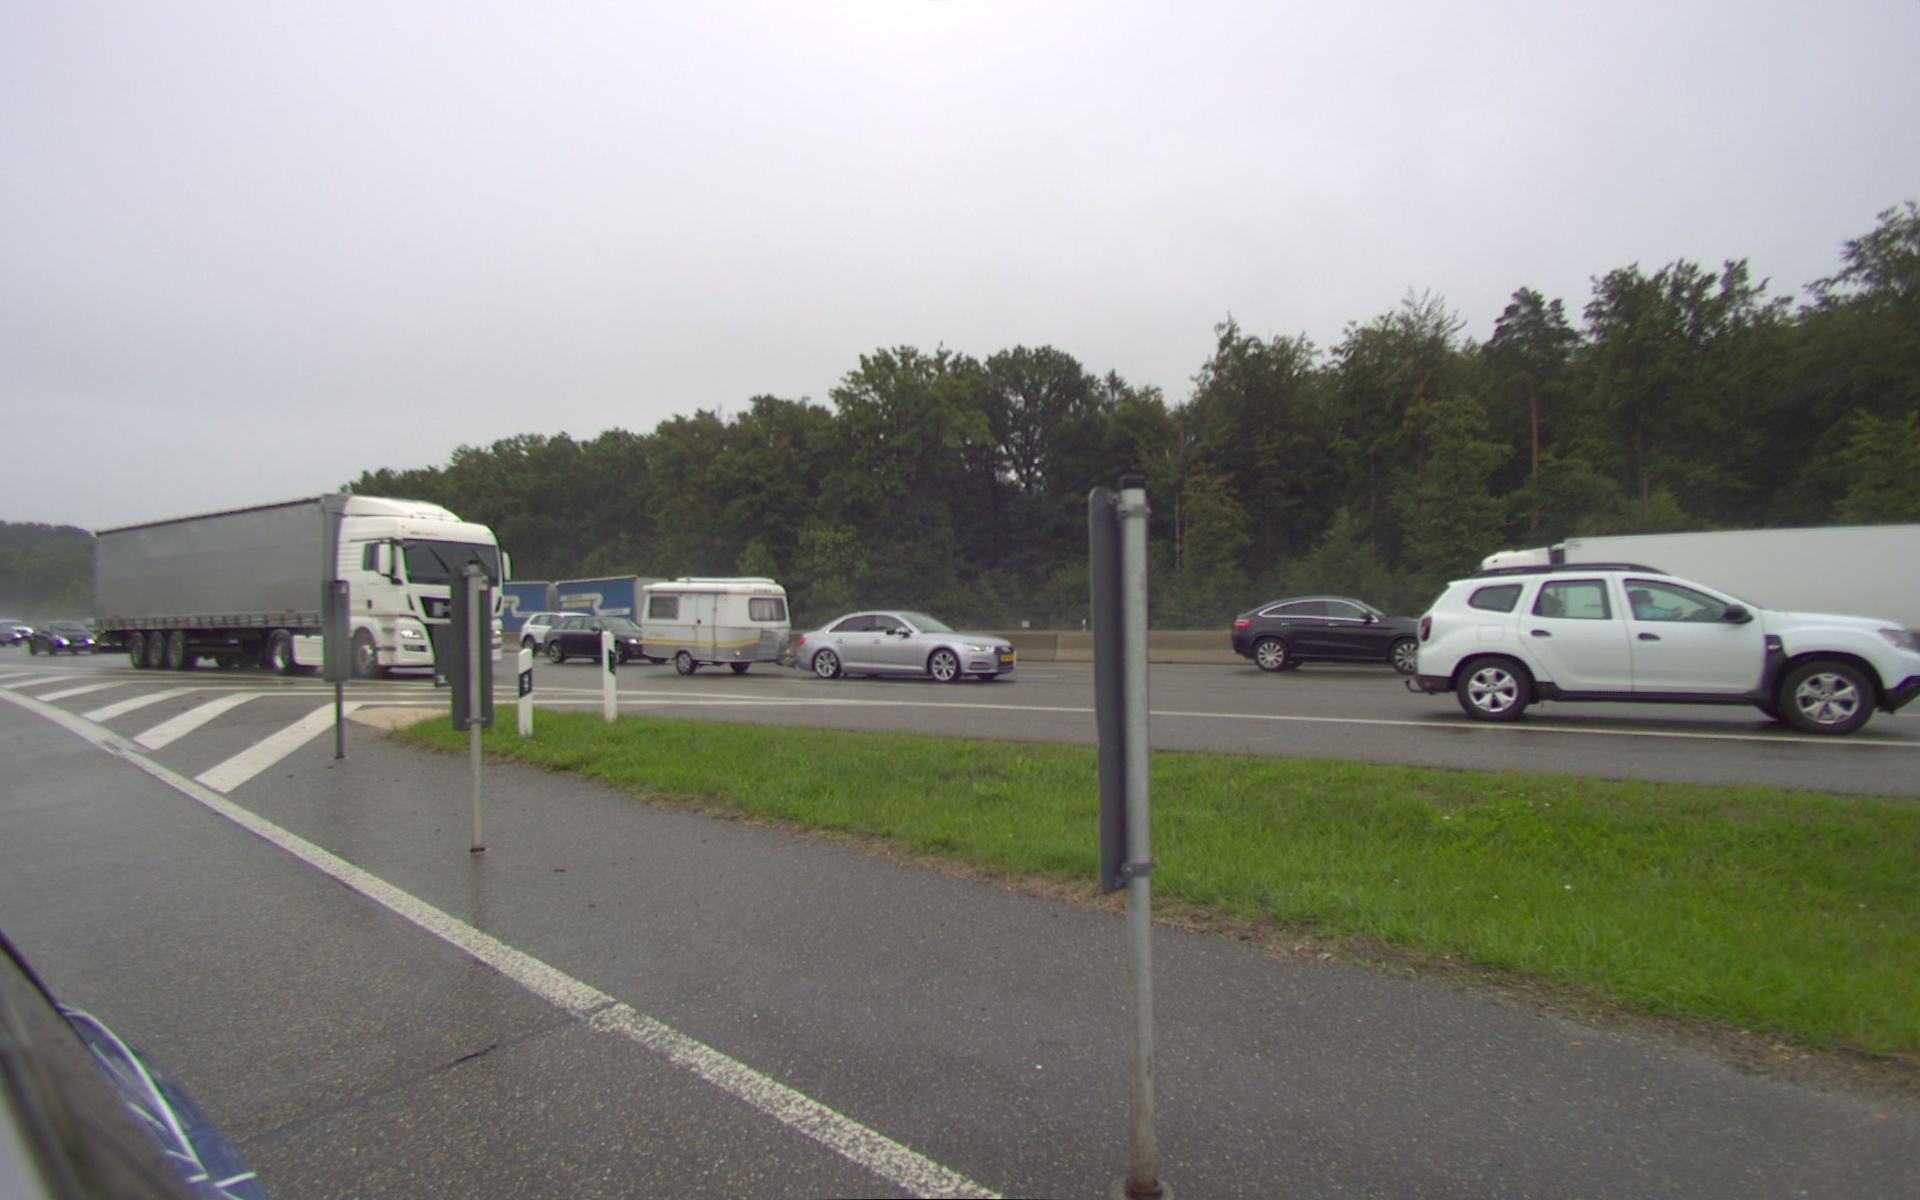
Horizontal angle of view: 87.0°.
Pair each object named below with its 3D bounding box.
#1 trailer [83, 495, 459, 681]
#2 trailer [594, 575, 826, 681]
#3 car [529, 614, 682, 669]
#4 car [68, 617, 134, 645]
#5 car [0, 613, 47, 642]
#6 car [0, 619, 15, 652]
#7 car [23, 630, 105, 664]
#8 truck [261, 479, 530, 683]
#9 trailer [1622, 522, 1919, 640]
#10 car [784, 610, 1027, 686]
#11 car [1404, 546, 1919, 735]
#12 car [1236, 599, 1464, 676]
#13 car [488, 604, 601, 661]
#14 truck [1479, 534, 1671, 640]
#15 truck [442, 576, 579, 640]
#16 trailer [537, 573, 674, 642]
[{"bbox_3d":[-18.731,-0.063,26.829,14.073,4.013,2.872,-2,-3,33],"label":"trailer"},{"bbox_3d":[-5.739,0.675,23.040,5.161,2.172,2.113,-2,-3,31],"label":"trailer"},{"bbox_3d":[-10.701,1.232,30.453,4.514,1.552,1.978,-1,-2,32],"label":"car"},{"bbox_3d":[-52.861,1.904,62.234,4.390,1.681,1.804,0,-2,32],"label":"car"},{"bbox_3d":[-68.277,1.999,73.481,3.987,2.029,1.978,-2,-2,32],"label":"car"},{"bbox_3d":[-60.068,2.188,62.432,3.992,2.029,1.840,-1,-2,36],"label":"car"},{"bbox_3d":[-39.287,2.045,44.354,3.991,1.383,1.802,-2,-2,35],"label":"car"},{"bbox_3d":[-12.889,-0.269,23.030,5.915,4.083,2.850,-2,-3,32],"label":"truck"},{"bbox_3d":[28.930,-0.541,31.742,13.437,3.524,2.629,-1,-1,31],"label":"trailer"},{"bbox_3d":[-1.113,0.939,19.917,4.565,1.358,1.832,-2,-3,31],"label":"car"},{"bbox_3d":[6.985,0.421,10.291,4.308,1.598,1.772,-2,-3,32],"label":"car"},{"bbox_3d":[8.654,0.842,22.594,4.510,1.587,1.691,-1,-3,32],"label":"car"},{"bbox_3d":[-15.872,1.246,38.629,3.985,2.029,1.922,-2,1,31],"label":"car"},{"bbox_3d":[21.793,-0.363,36.115,5.581,3.478,2.627,-1,-1,31],"label":"truck"},{"bbox_3d":[-31.129,0.543,69.860,10.521,4.008,3.039,-1,3,32],"label":"truck"},{"bbox_3d":[-22.727,0.463,64.638,9.136,4.076,3.068,-1,3,32],"label":"trailer"}]
